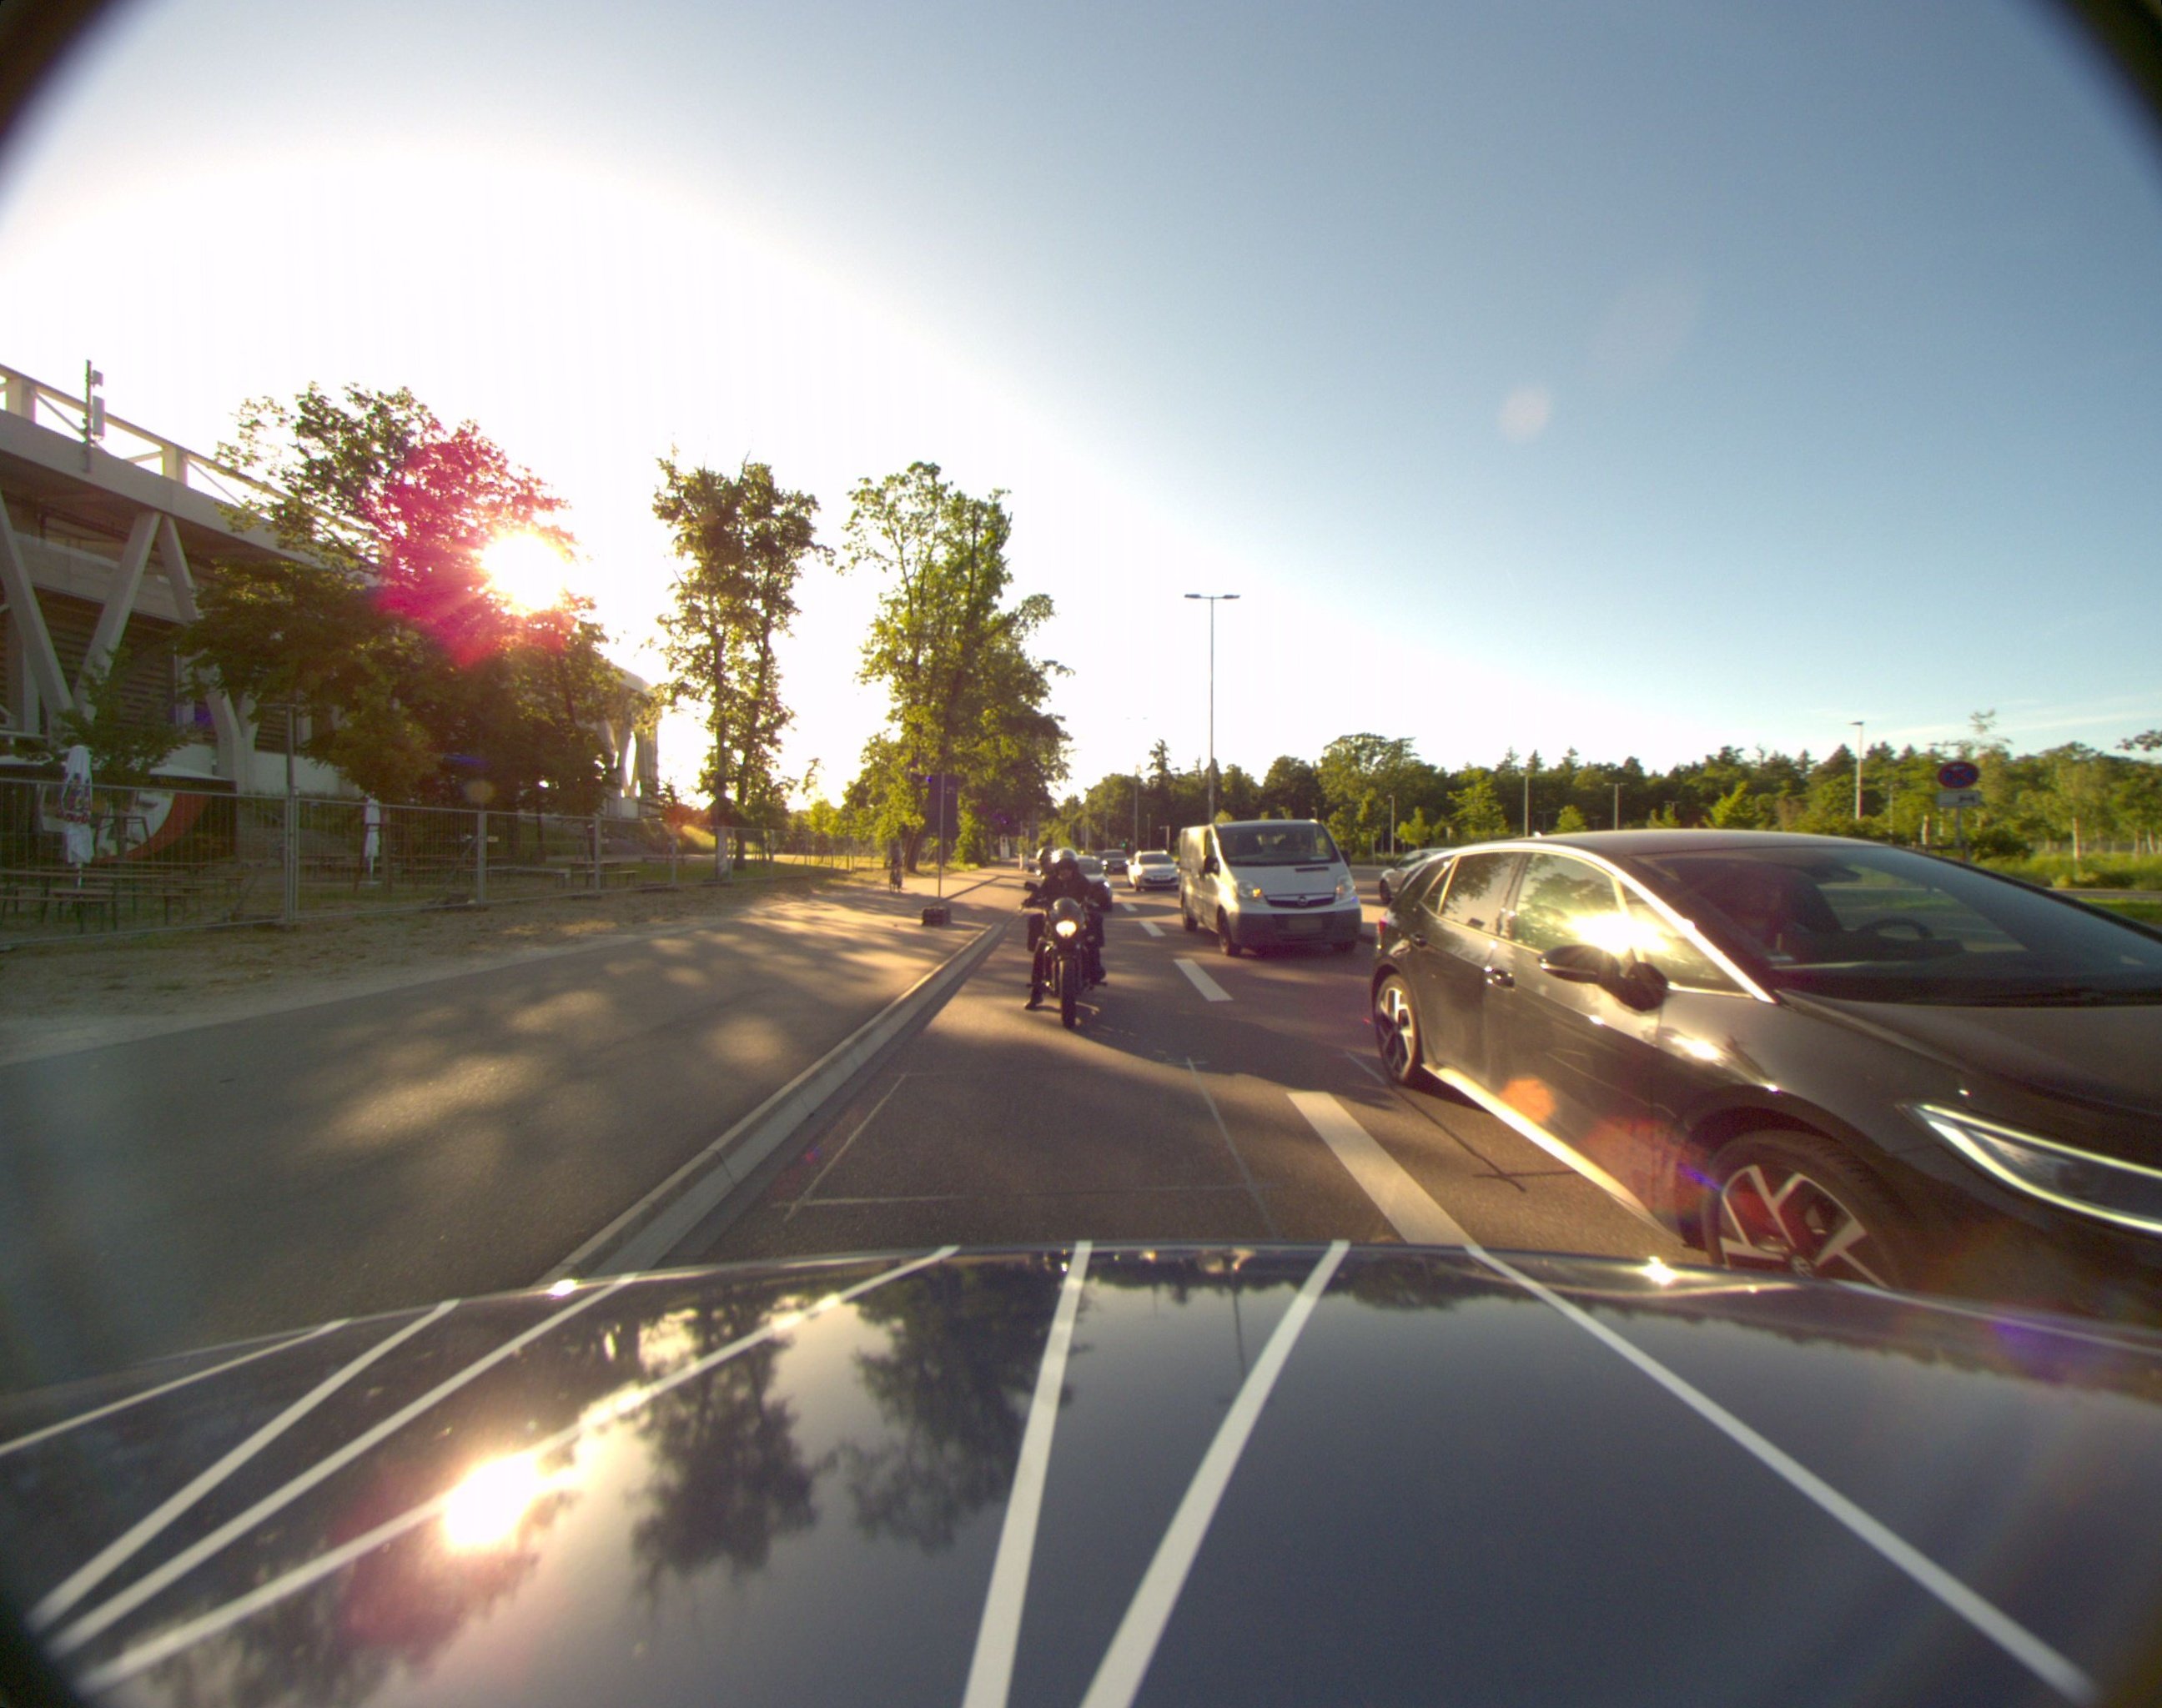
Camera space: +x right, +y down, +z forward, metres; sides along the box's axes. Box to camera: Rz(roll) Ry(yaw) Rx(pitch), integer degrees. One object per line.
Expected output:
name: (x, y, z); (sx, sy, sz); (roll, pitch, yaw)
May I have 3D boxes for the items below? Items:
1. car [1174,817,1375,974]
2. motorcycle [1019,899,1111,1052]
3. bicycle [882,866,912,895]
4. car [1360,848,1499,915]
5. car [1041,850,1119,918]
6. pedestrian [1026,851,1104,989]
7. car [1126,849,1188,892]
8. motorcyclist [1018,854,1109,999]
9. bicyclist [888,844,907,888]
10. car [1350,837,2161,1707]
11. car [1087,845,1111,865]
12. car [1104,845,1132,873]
car: (2.830, 0.537, 12.386); (1.883, 1.951, 5.048); (-2, 0, 0)
motorcycle: (-0.117, 1.088, 7.673); (0.717, 1.058, 2.721); (-2, 1, 1)
bicycle: (-5.950, 0.857, 24.685); (0.481, 0.854, 1.909); (0, 1, 1)
car: (8.438, 0.593, 18.771); (1.604, 1.388, 3.842); (-2, 1, 0)
car: (-0.040, 0.754, 21.492); (1.883, 1.629, 5.048); (-2, 0, 0)
pedestrian: (-0.161, 0.678, 8.051); (0.739, 1.387, 0.500); (-2, 1, 1)
car: (2.935, 0.591, 30.434); (1.883, 1.515, 5.048); (-2, 0, 0)
motorcyclist: (-0.168, 0.699, 7.555); (0.822, 1.367, 0.476); (-2, 1, 0)
bicyclist: (-5.951, 0.377, 24.621); (0.451, 1.412, 0.575); (0, 1, 1)
car: (2.774, 0.735, 3.079); (1.883, 1.528, 3.999); (-2, 1, 0)
car: (1.600, 0.093, 68.976); (1.883, 1.629, 5.048); (-2, 0, 0)
car: (2.402, 0.320, 49.957); (1.638, 1.674, 3.999); (-2, 1, 1)
